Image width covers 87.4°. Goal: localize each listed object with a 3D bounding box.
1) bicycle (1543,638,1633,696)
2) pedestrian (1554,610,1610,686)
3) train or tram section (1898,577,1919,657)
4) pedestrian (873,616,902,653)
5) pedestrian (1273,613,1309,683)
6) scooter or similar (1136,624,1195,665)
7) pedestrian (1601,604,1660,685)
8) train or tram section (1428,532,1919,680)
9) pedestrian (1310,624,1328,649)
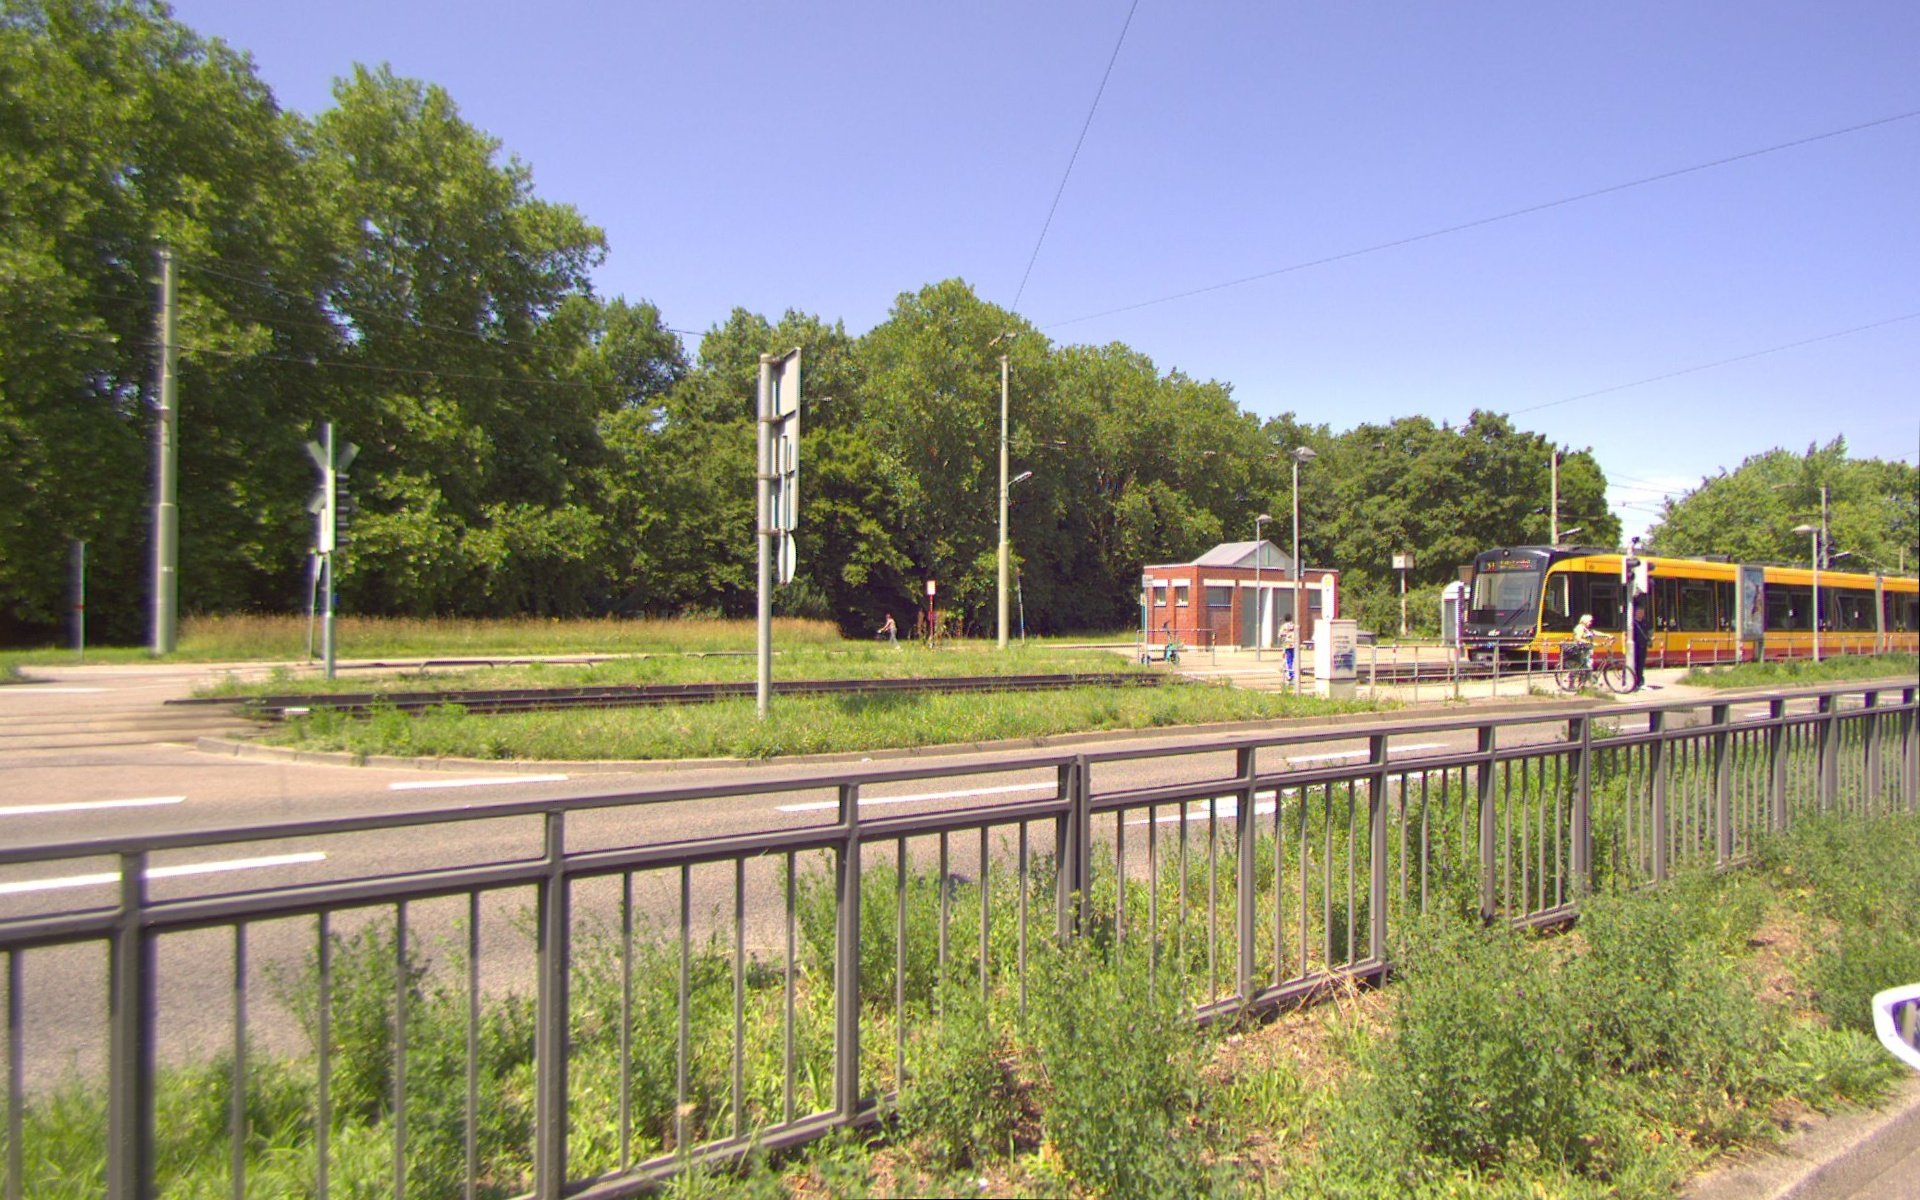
[{"bbox_3d":[13.938,1.463,22.346,0.239,1.172,1.857,1,-1,-26],"label":"bicycle"},{"bbox_3d":[13.943,1.062,22.524,0.696,1.650,0.816,1,0,-26],"label":"pedestrian"},{"bbox_3d":[55.793,1.017,52.988,25.709,3.717,2.773,1,-1,-32],"label":"train or tram section"},{"bbox_3d":[-3.392,1.599,46.977,1.245,1.724,0.517,1,0,14],"label":"pedestrian"},{"bbox_3d":[7.550,1.074,22.926,0.527,1.561,0.869,0,-1,-1],"label":"pedestrian"},{"bbox_3d":[5.974,1.293,29.156,1.639,1.142,0.613,1,0,13],"label":"scooter or similar"},{"bbox_3d":[15.482,1.019,23.199,0.691,1.820,0.961,1,0,-2],"label":"pedestrian"},{"bbox_3d":[29.277,0.480,36.272,37.100,3.717,2.773,1,-1,-32],"label":"train or tram section"},{"bbox_3d":[14.716,1.500,41.226,0.516,1.032,0.479,1,-1,-30],"label":"pedestrian"}]
